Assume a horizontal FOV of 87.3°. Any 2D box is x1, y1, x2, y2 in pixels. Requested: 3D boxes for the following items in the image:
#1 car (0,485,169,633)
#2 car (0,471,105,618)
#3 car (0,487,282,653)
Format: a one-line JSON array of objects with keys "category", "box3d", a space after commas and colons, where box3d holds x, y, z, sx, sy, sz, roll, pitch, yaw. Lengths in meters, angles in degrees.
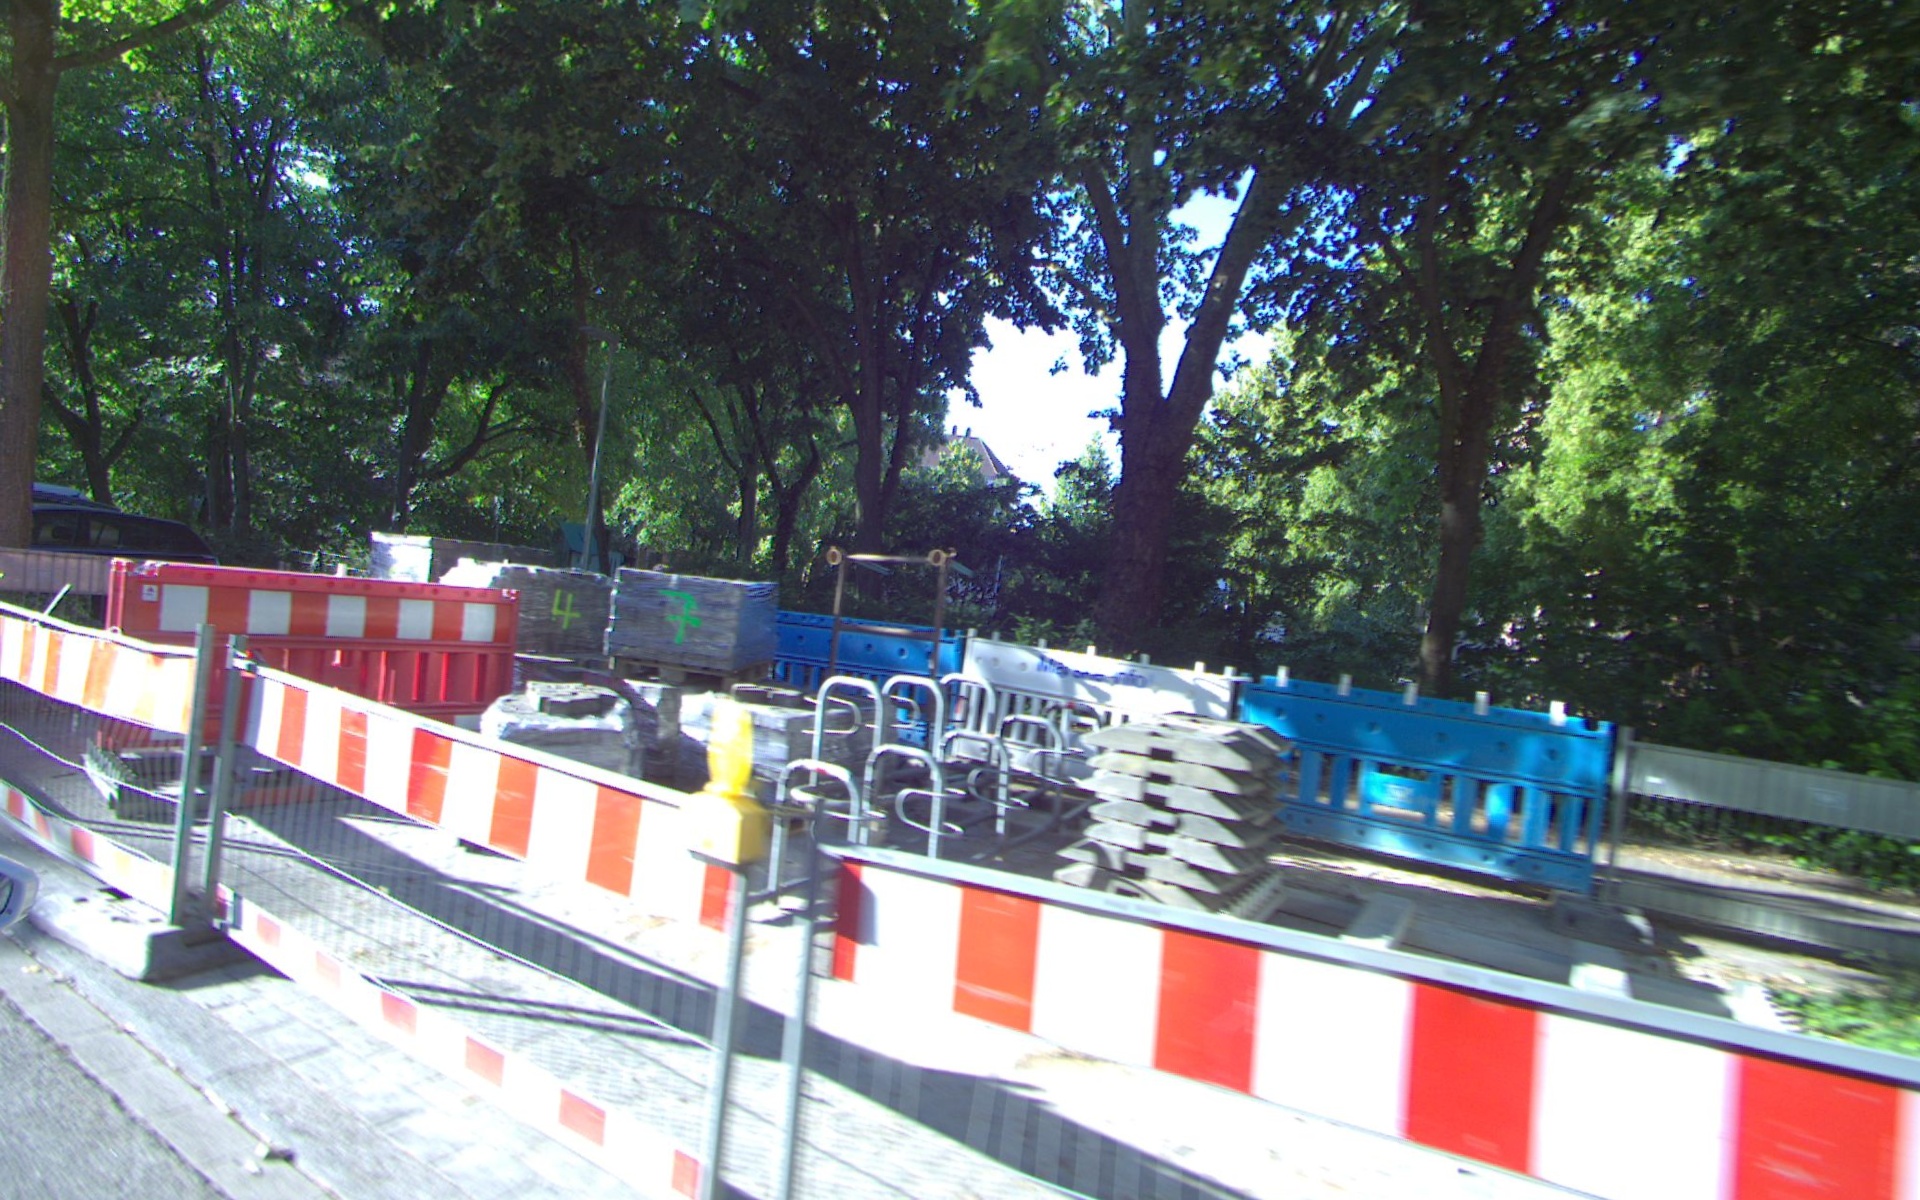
[{"category": "car", "box3d": [-12.954, -0.677, 12.515, 1.884, 1.721, 4.399, 5, -3, 28]}, {"category": "car", "box3d": [-15.287, -1.030, 13.930, 1.883, 2.019, 4.755, 5, -3, 27]}, {"category": "car", "box3d": [-10.778, -0.396, 11.630, 1.883, 1.624, 4.400, 5, -3, 27]}]
